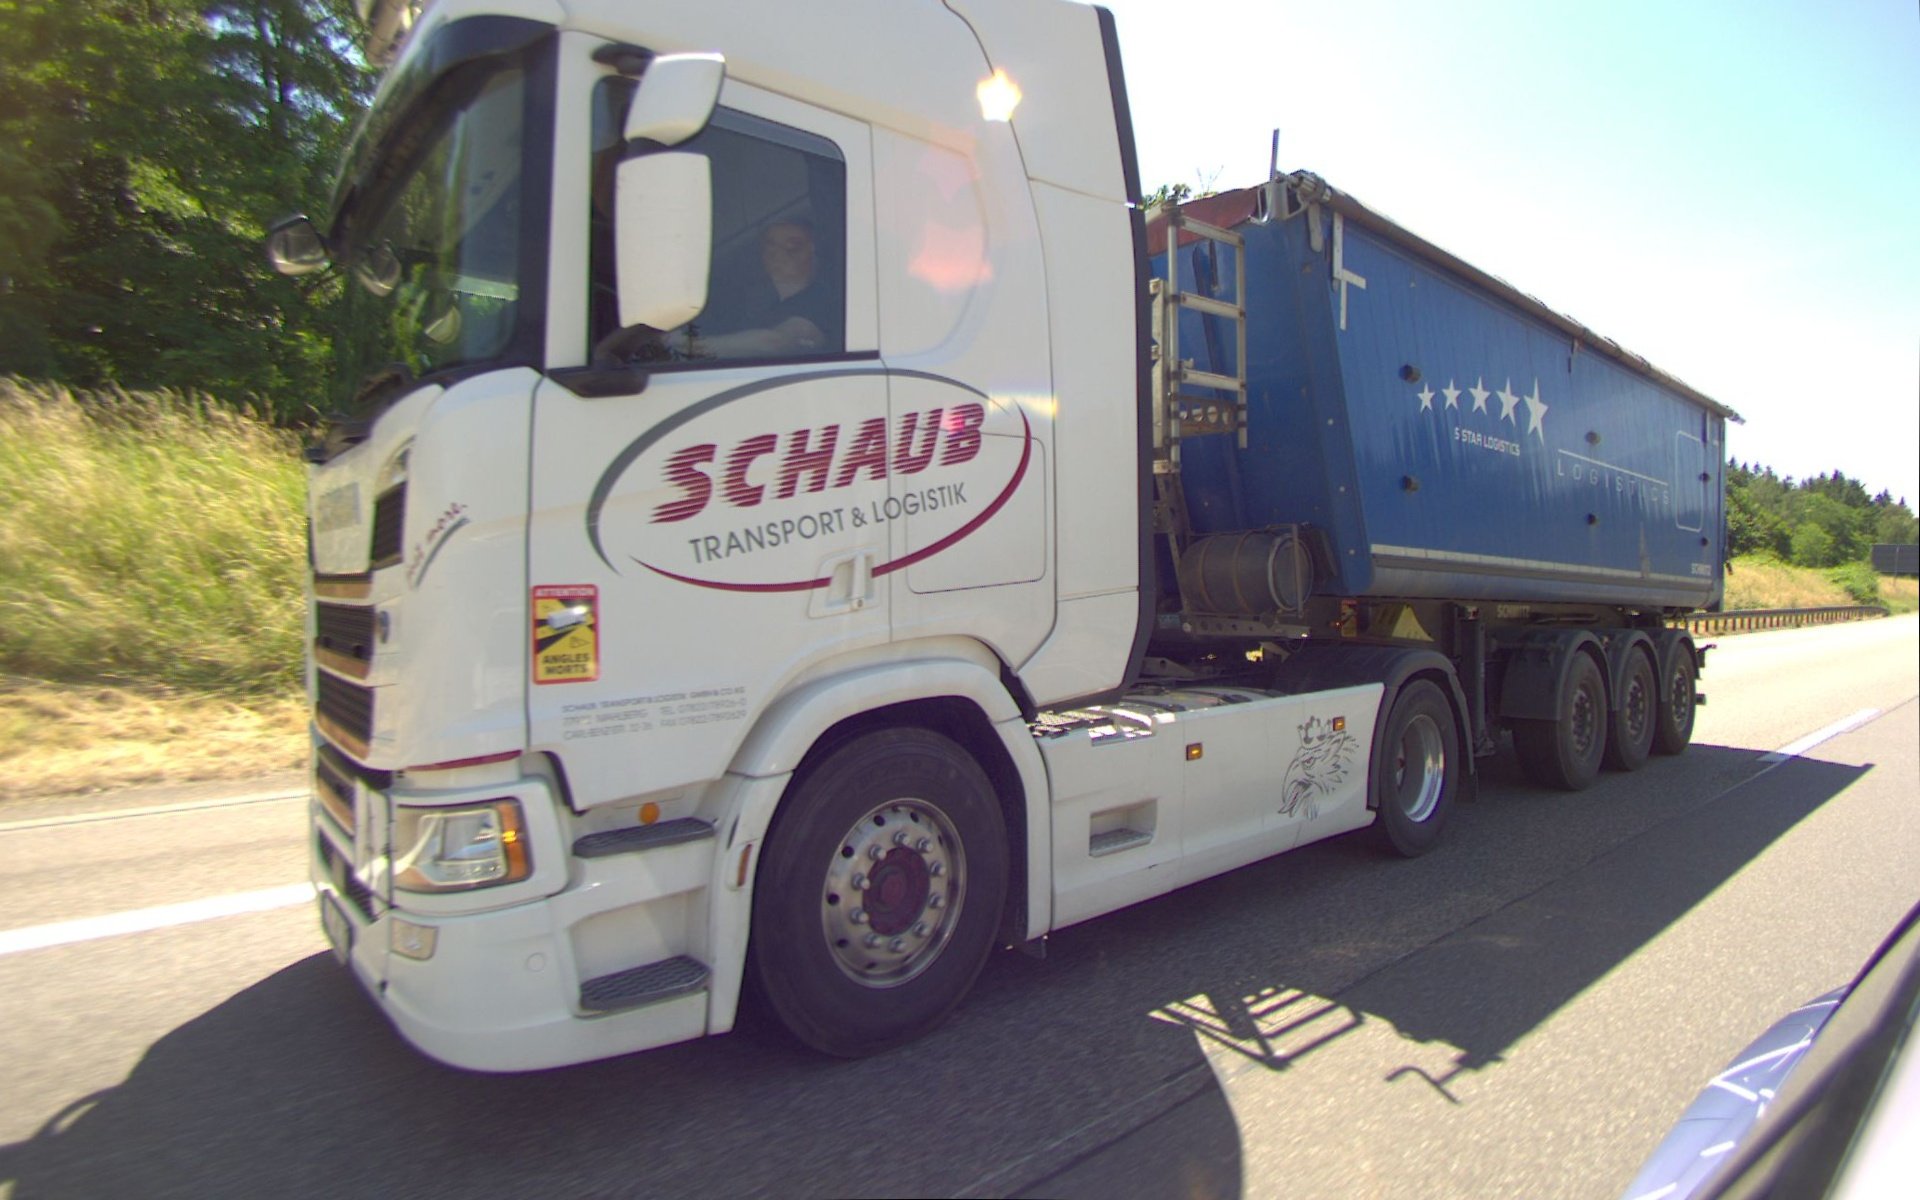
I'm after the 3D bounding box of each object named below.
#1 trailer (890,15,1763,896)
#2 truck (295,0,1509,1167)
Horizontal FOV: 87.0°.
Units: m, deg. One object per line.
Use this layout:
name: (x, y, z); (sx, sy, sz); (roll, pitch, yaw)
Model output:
trailer: (3.831, -0.644, 8.348); (8.949, 3.806, 2.742); (0, 1, -41)
truck: (0.227, -0.637, 5.238); (5.839, 3.806, 2.689); (0, 0, -41)
